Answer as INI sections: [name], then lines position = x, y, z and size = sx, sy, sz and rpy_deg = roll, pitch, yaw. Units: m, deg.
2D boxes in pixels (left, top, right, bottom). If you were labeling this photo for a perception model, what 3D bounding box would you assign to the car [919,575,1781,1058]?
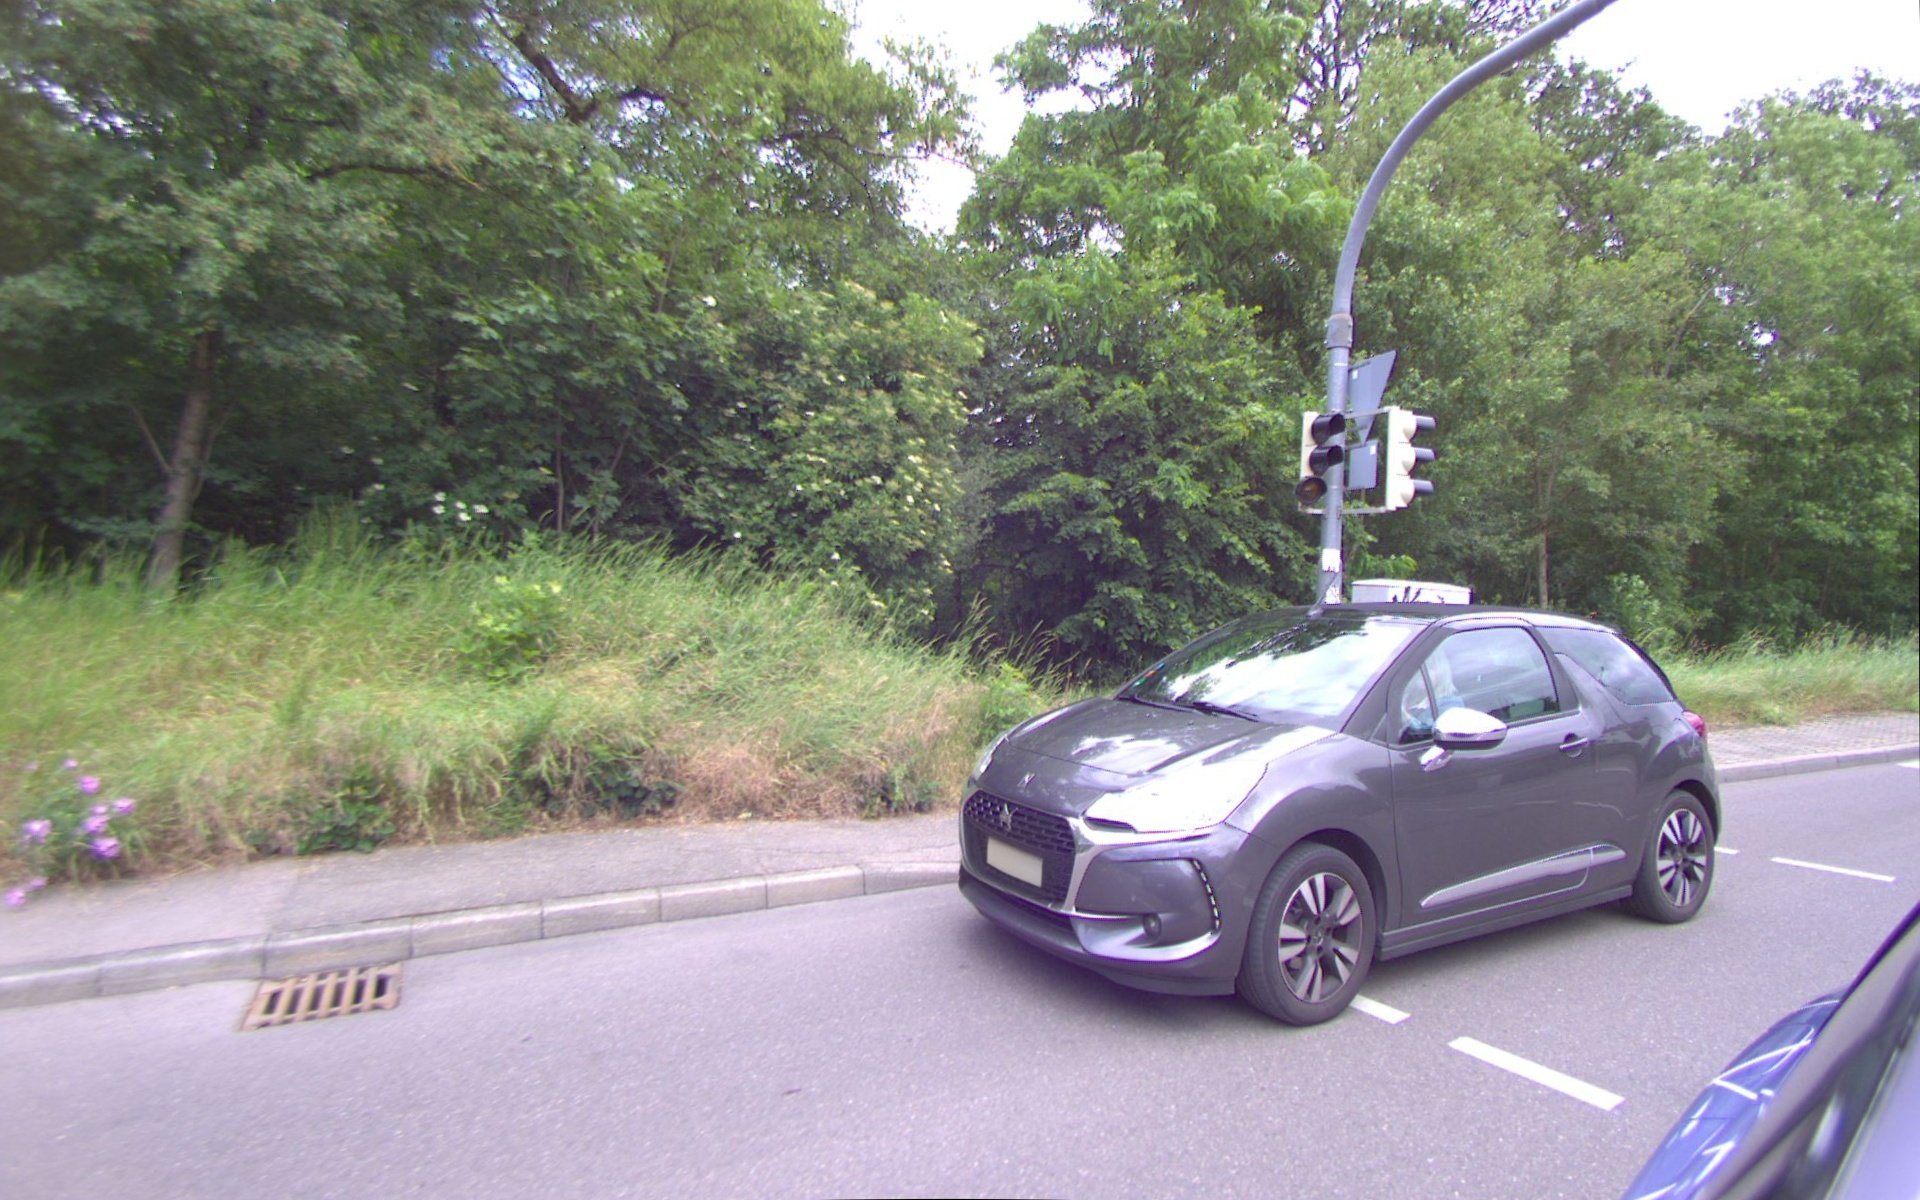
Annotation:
[car]
position = 1.885, 0.662, 4.755
size = 3.776, 1.476, 1.734
rpy_deg = 0, 0, -28
